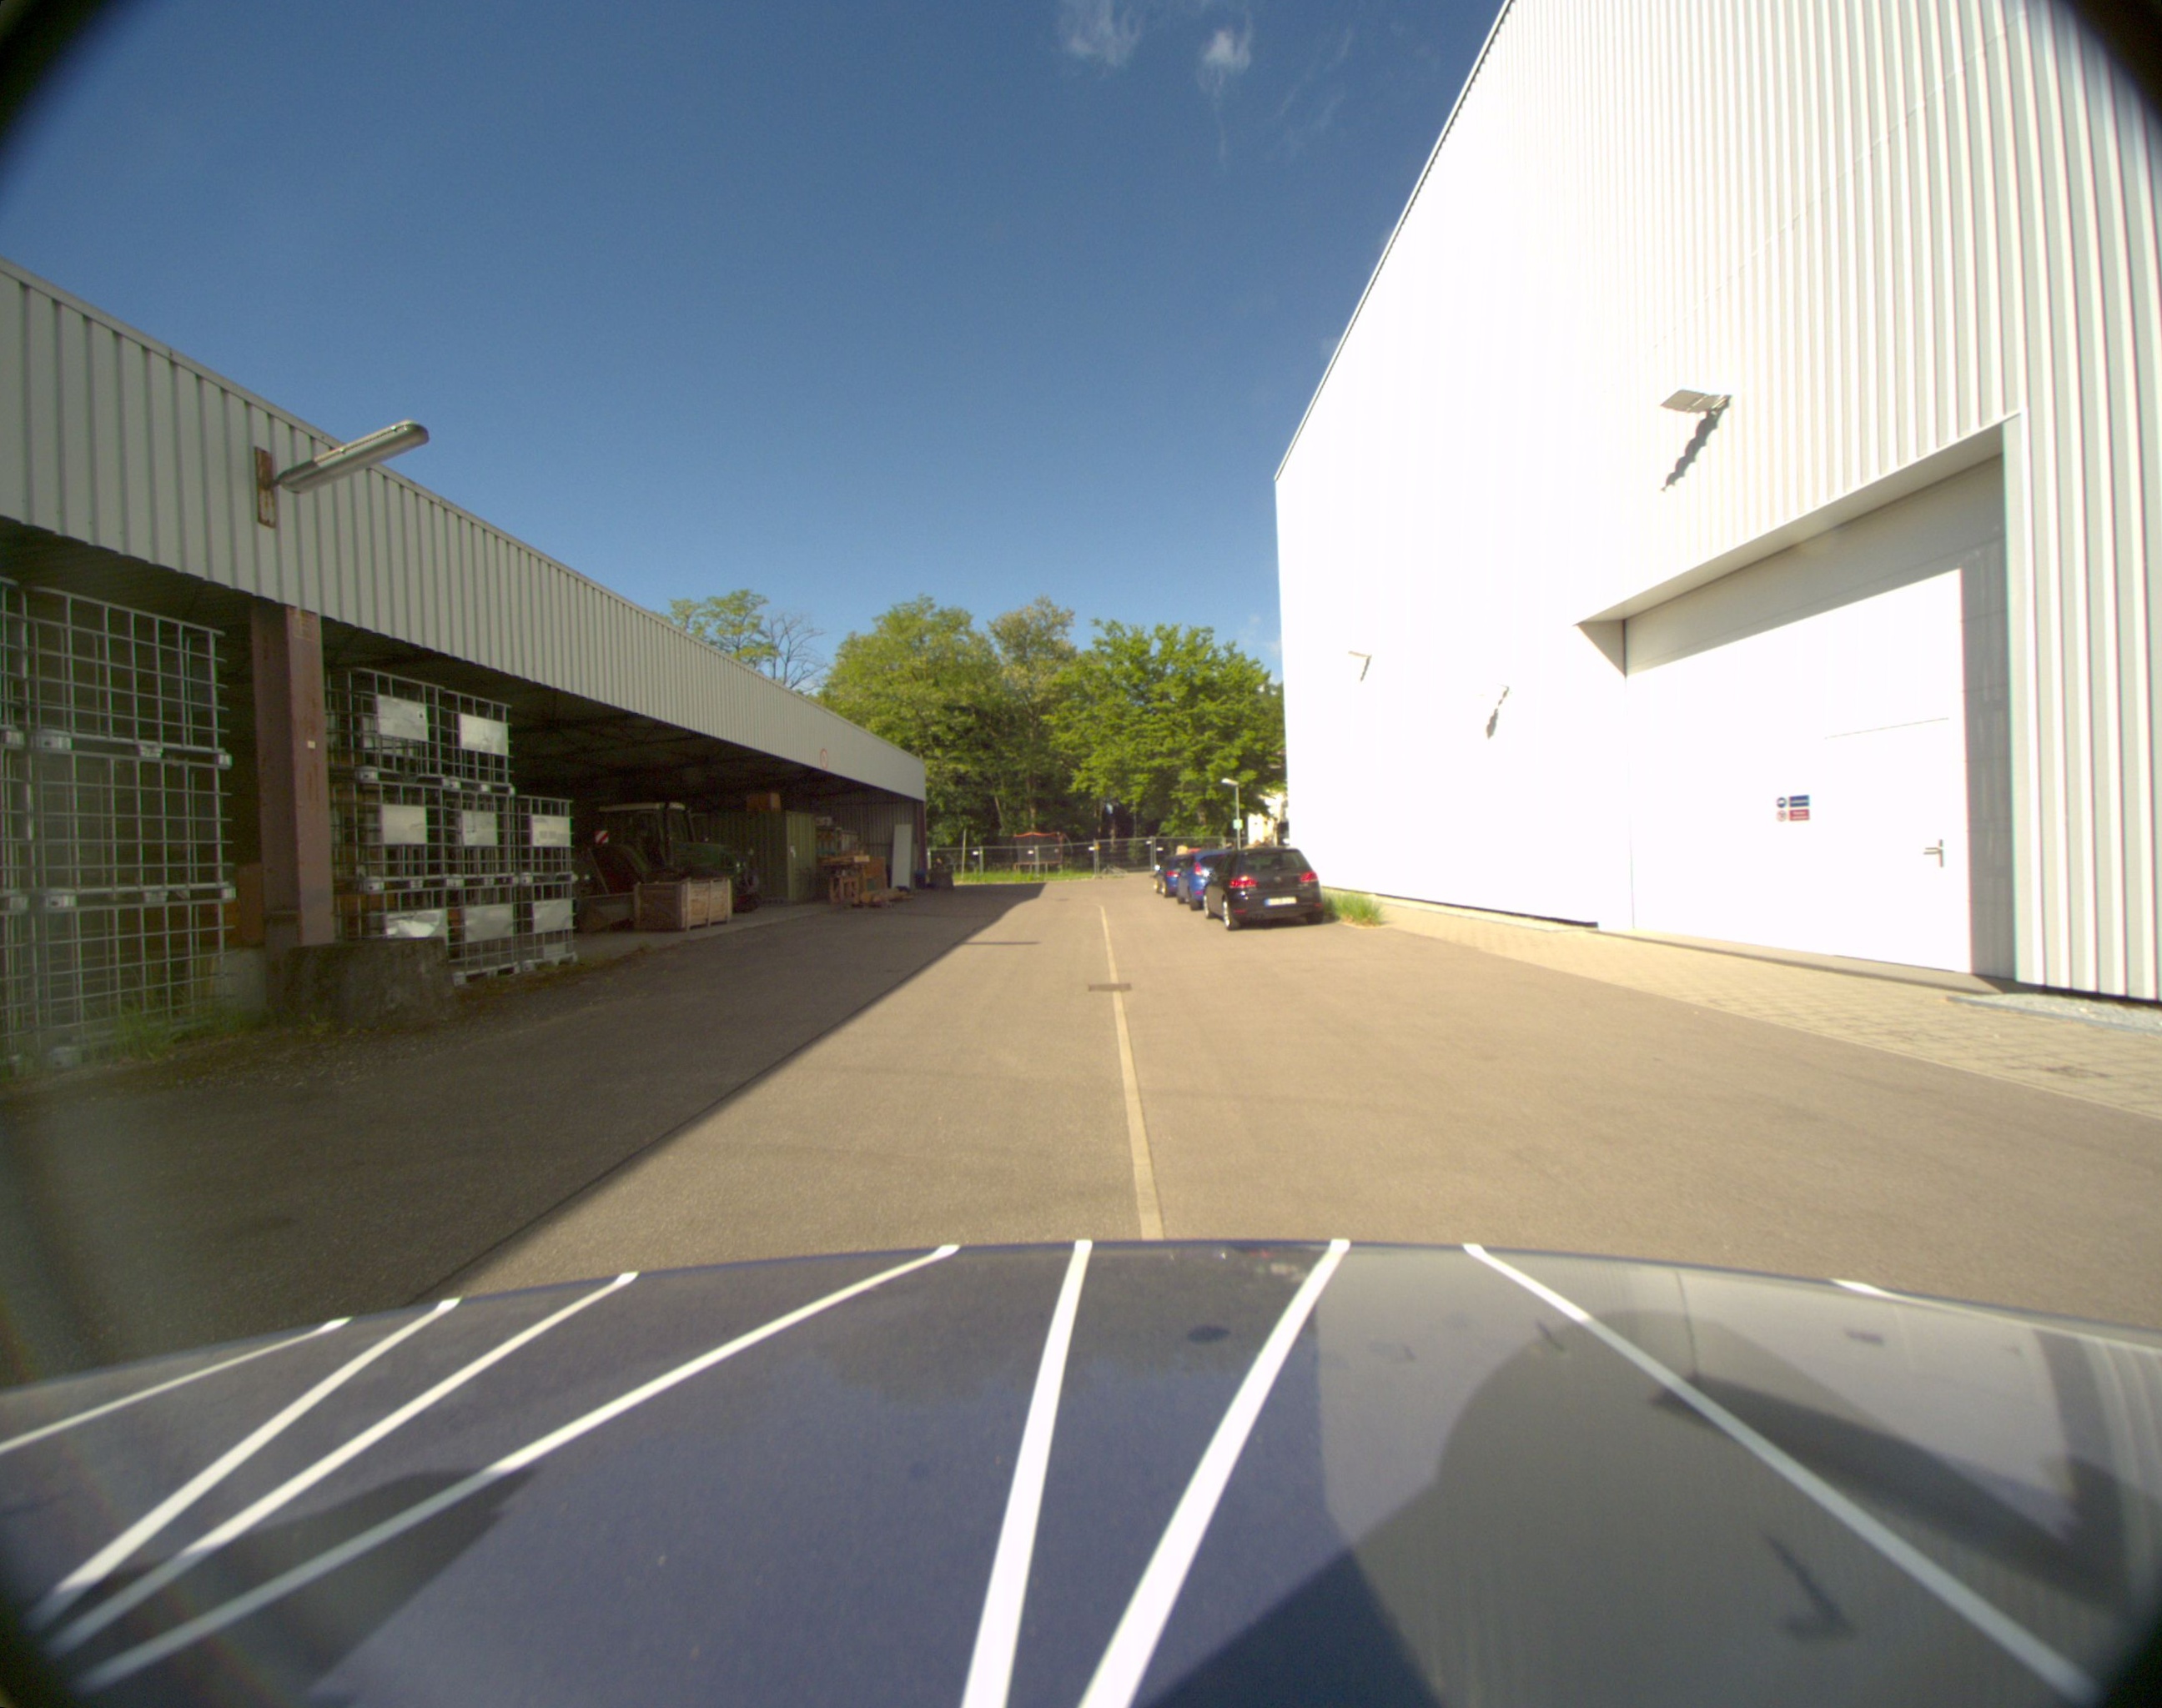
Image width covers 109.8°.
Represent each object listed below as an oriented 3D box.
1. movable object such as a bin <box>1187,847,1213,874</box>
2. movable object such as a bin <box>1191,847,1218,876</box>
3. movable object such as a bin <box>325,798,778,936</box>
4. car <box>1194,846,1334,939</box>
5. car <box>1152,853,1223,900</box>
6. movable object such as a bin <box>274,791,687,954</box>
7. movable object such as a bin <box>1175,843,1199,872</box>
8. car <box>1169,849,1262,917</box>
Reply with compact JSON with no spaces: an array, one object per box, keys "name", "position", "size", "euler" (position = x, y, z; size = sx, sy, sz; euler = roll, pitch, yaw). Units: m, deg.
[{"name":"movable object such as a bin","position":[6.624,0.346,42.328],"size":[1.093,1.431,1.230],"euler":[-4,2,-5]},{"name":"movable object such as a bin","position":[6.647,0.389,40.995],"size":[1.093,1.424,1.230],"euler":[-4,2,-5]},{"name":"movable object such as a bin","position":[-12.987,0.300,19.270],"size":[9.214,2.893,3.212],"euler":[-2,1,2]},{"name":"car","position":[3.461,0.652,15.202],"size":[1.759,1.491,4.294],"euler":[-4,0,1]},{"name":"car","position":[3.475,0.691,25.547],"size":[1.778,1.353,4.053],"euler":[-3,0,0]},{"name":"movable object such as a bin","position":[-12.227,0.361,15.955],"size":[6.200,2.893,3.016],"euler":[-2,1,2]},{"name":"movable object such as a bin","position":[6.169,0.205,44.227],"size":[1.093,1.588,1.230],"euler":[-3,3,-5]},{"name":"car","position":[3.436,0.670,20.100],"size":[1.635,1.491,4.094],"euler":[-5,0,0]}]
